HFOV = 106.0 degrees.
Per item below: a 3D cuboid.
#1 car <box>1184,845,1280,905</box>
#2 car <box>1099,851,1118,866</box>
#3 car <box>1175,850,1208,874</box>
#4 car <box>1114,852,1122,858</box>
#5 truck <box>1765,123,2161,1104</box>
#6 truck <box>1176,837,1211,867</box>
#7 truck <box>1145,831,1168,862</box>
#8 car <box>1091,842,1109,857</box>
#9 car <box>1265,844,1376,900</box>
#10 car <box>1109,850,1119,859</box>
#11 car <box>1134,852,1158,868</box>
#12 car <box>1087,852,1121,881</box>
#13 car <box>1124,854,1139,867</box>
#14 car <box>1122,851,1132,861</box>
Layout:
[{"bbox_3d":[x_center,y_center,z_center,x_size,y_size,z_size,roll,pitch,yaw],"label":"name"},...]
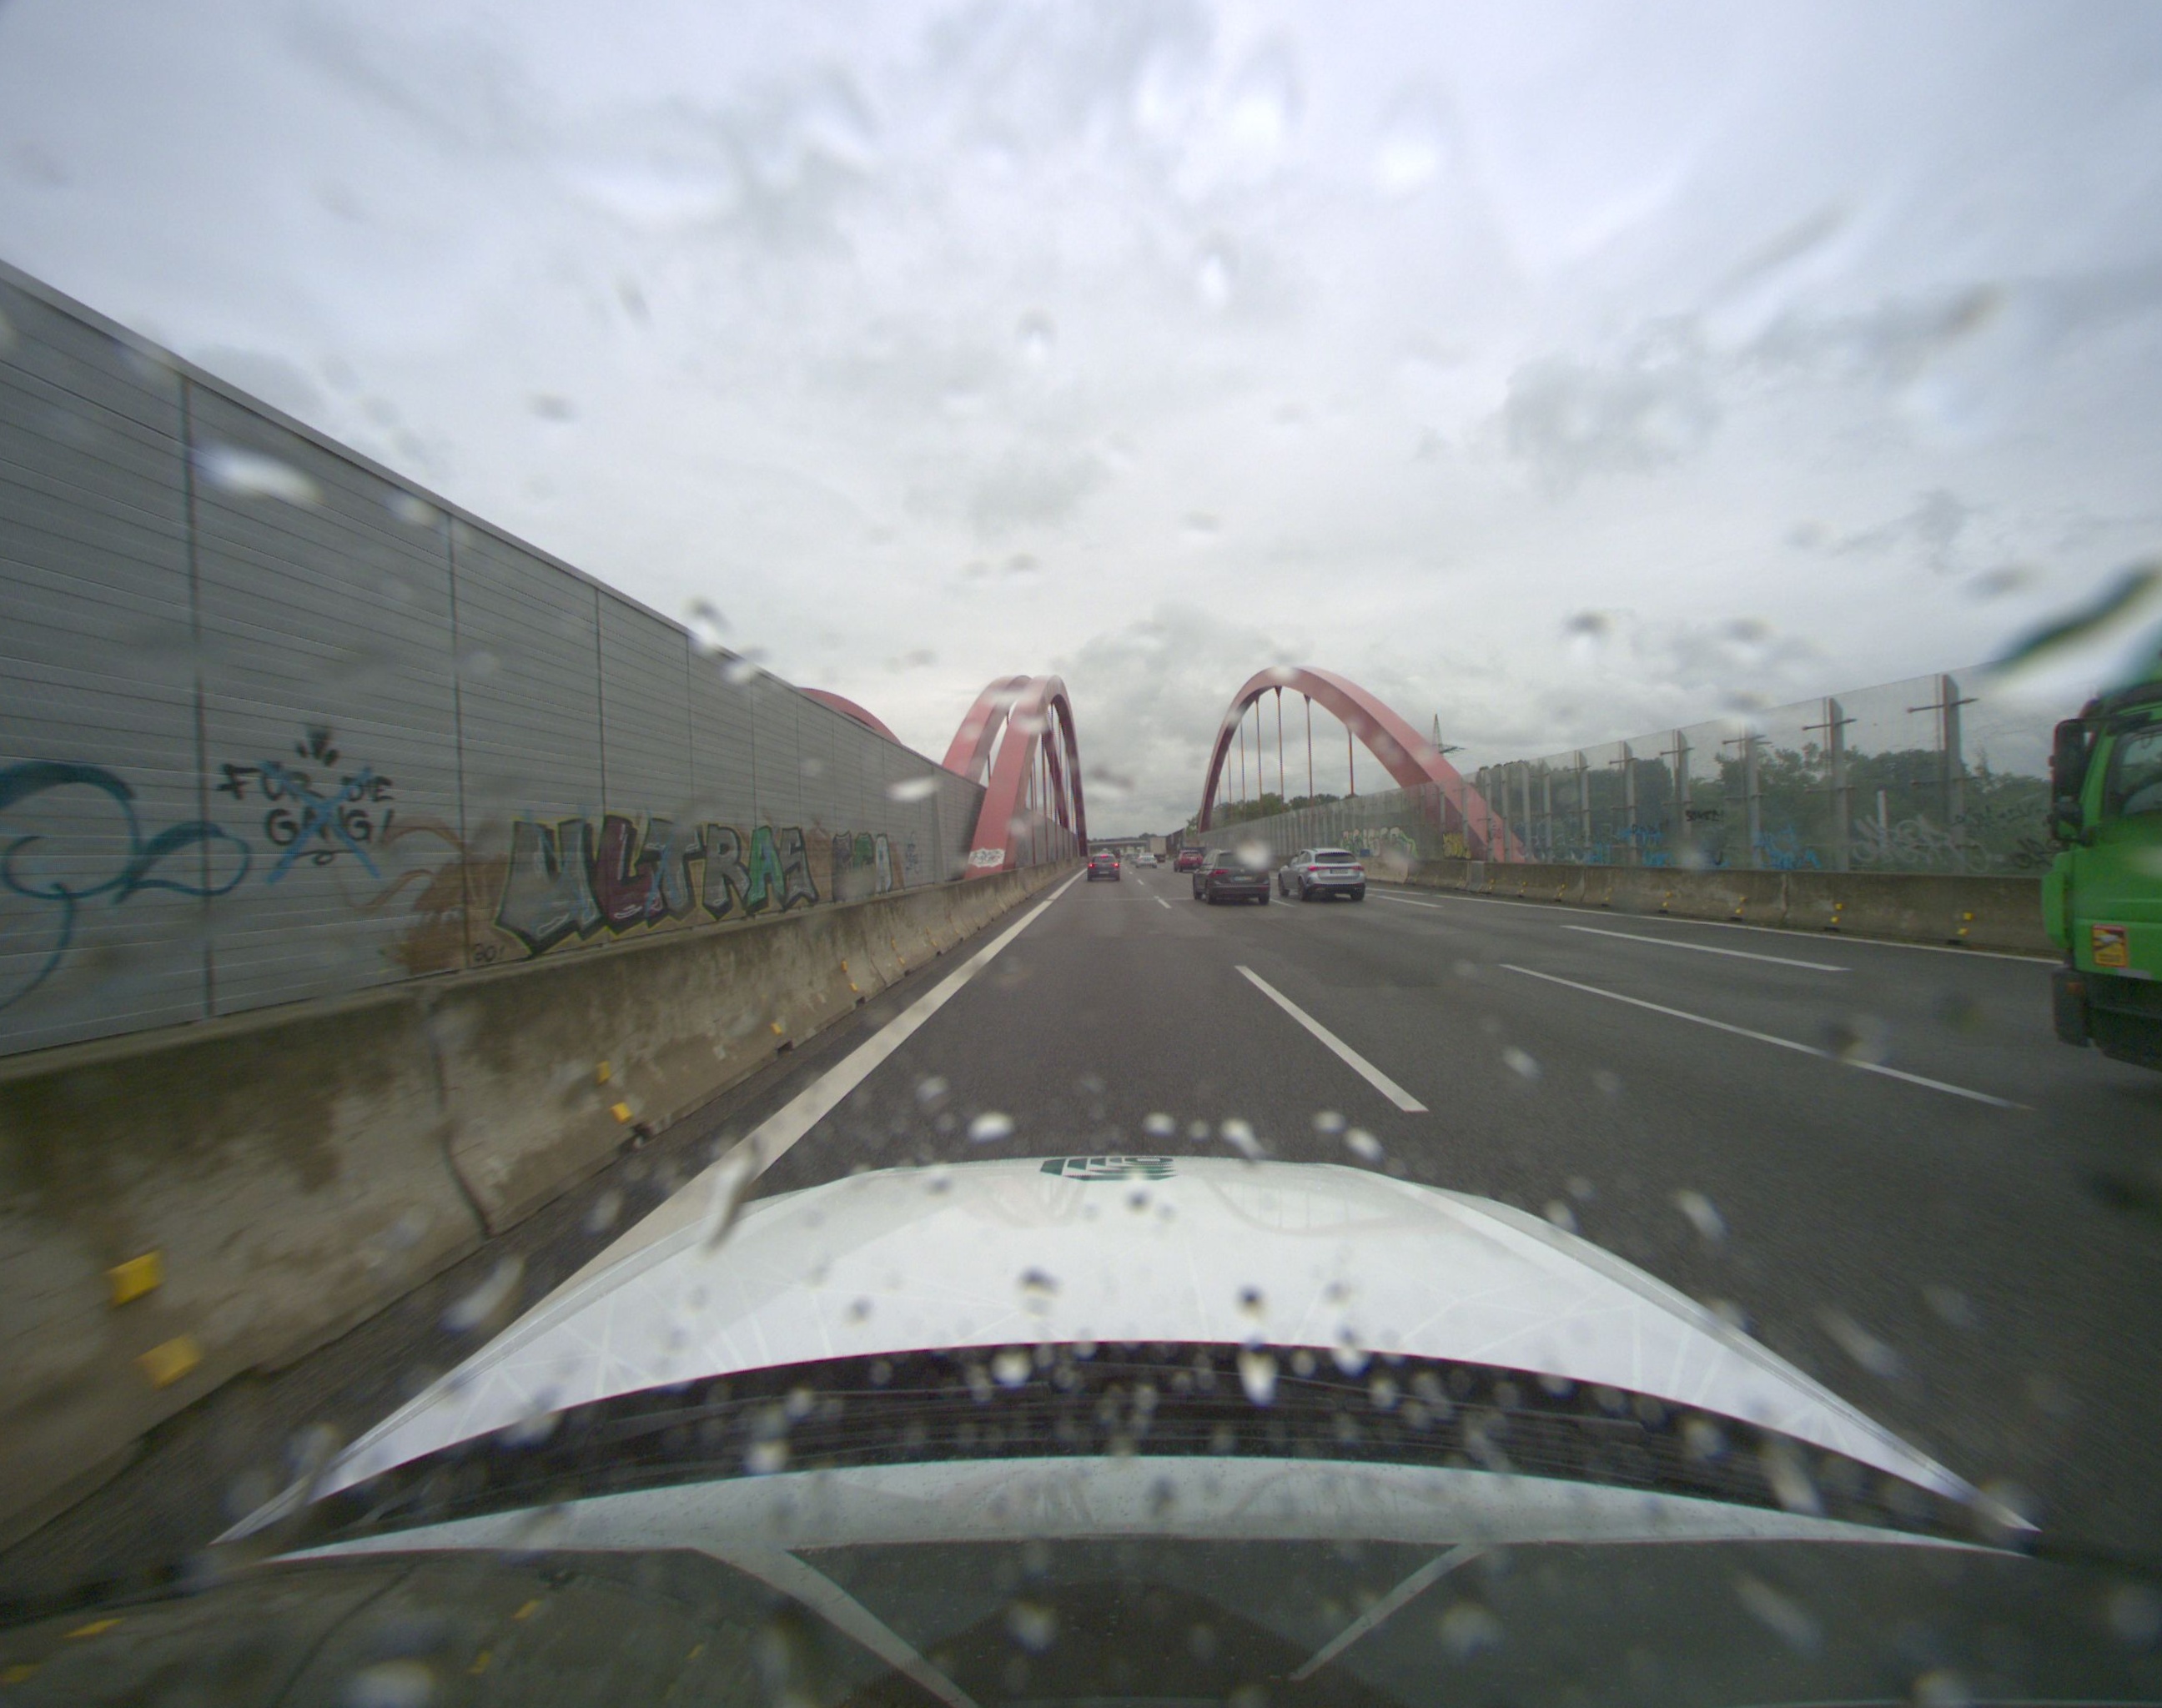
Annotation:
[{"bbox_3d":[4.512,0.589,24.967,1.908,1.670,4.098,-1,0,-4],"label":"car"},{"bbox_3d":[2.665,0.447,78.824,1.775,1.406,3.626,-1,0,1],"label":"car"},{"bbox_3d":[8.058,0.575,59.626,1.950,1.647,4.000,-1,0,1],"label":"car"},{"bbox_3d":[9.242,0.243,201.965,1.985,1.623,4.004,-1,0,3],"label":"car"},{"bbox_3d":[7.721,-1.304,1.329,3.983,5.266,11.223,-1,0,1],"label":"truck"},{"bbox_3d":[9.687,-0.194,70.688,2.352,2.506,6.146,-1,0,2],"label":"truck"},{"bbox_3d":[11.707,-1.095,126.704,3.033,4.734,7.682,0,0,1],"label":"truck"},{"bbox_3d":[2.126,-0.508,92.368,1.987,1.585,4.000,-2,0,0],"label":"car"},{"bbox_3d":[7.587,0.527,26.412,1.987,1.619,5.326,0,0,-1],"label":"car"},{"bbox_3d":[6.533,0.055,162.804,1.986,1.815,4.001,-1,0,1],"label":"car"},{"bbox_3d":[6.058,0.528,76.210,1.987,1.486,4.000,-1,0,1],"label":"car"},{"bbox_3d":[1.260,0.650,44.095,1.757,1.453,4.002,-1,0,2],"label":"car"},{"bbox_3d":[6.387,0.782,103.698,1.697,1.543,3.838,-1,0,0],"label":"car"},{"bbox_3d":[9.546,0.476,168.447,1.986,2.013,4.001,0,0,1],"label":"car"}]
